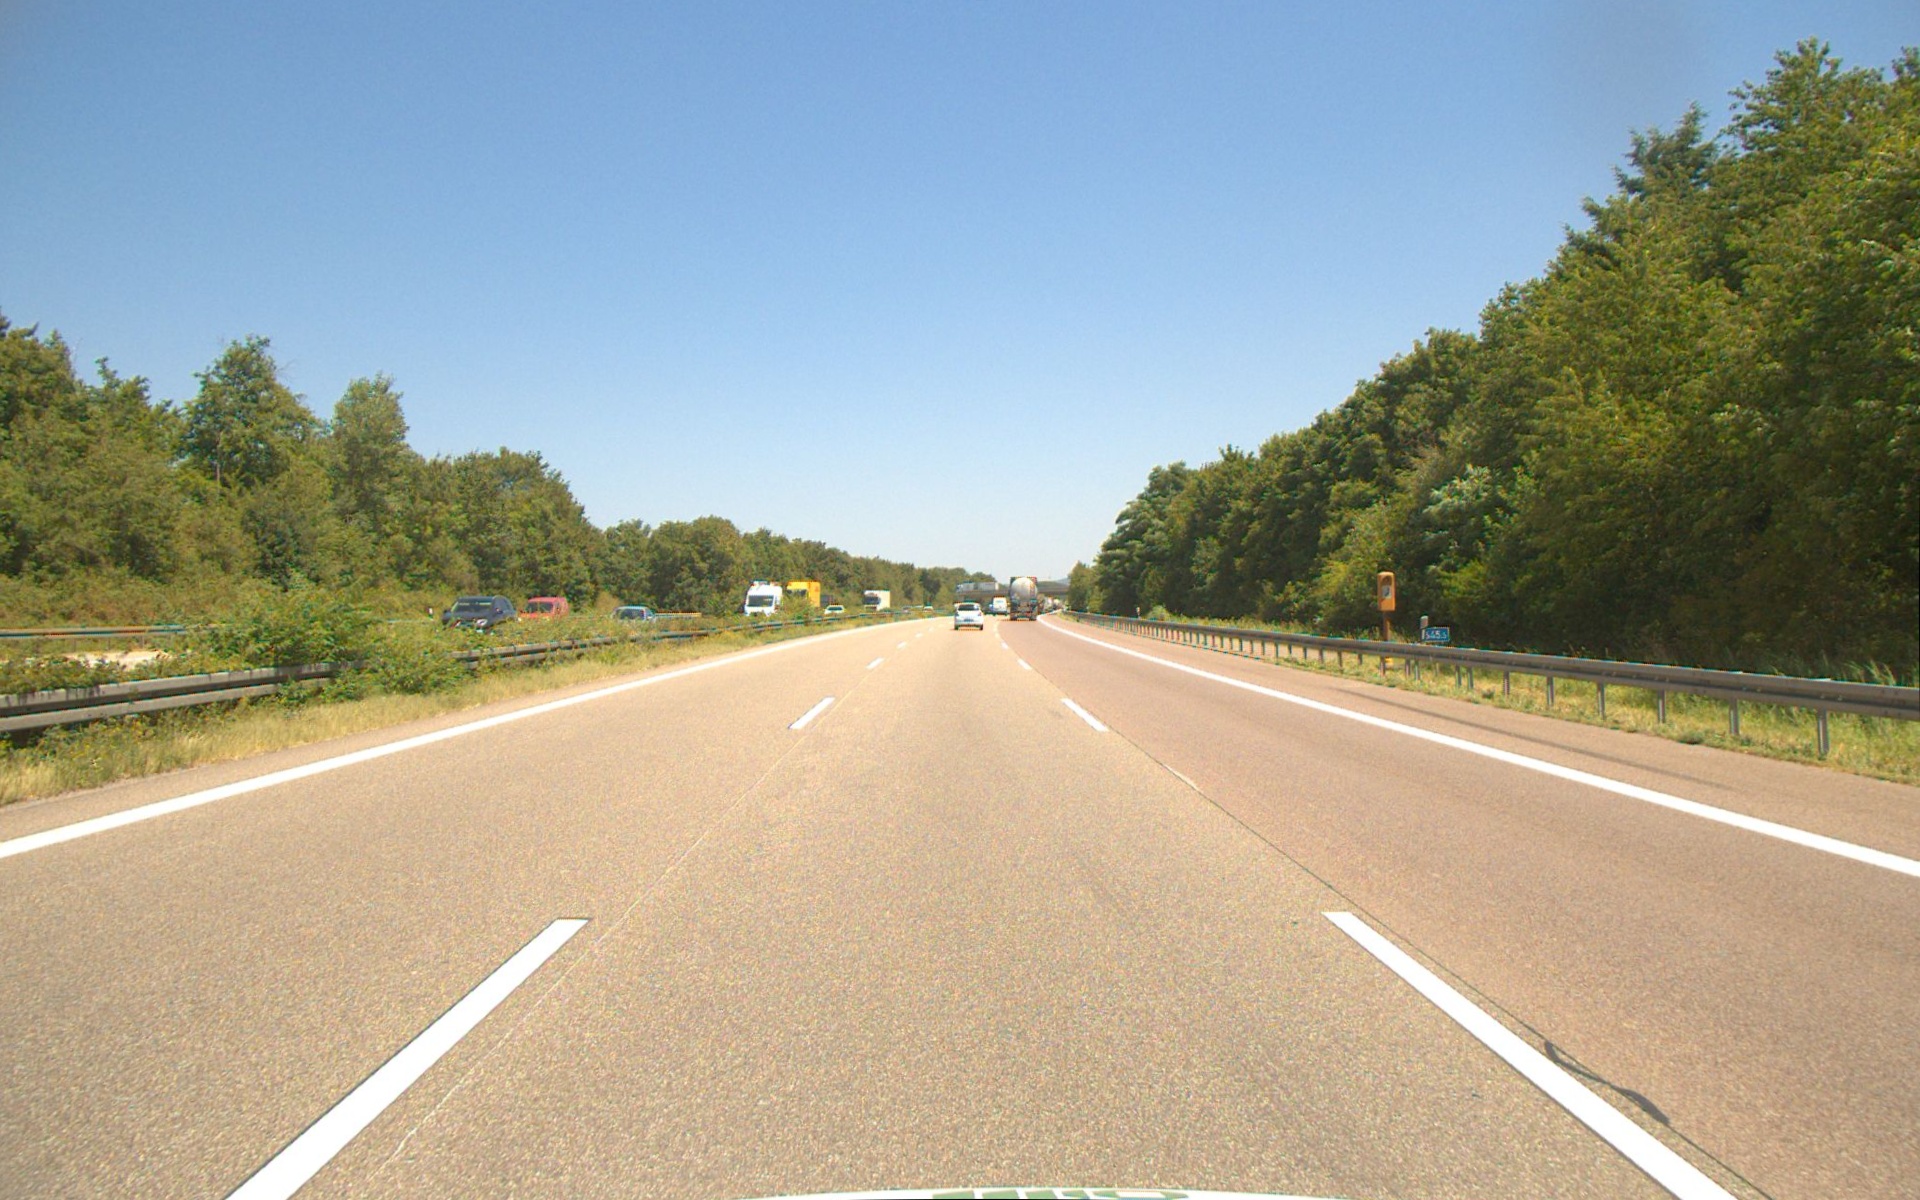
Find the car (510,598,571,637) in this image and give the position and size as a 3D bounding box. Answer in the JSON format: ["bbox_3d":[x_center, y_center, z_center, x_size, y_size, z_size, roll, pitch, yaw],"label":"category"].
[{"bbox_3d":[-20.382,0.832,80.514,1.669,1.807,4.768,0,0,1],"label":"car"}]

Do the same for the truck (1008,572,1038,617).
[{"bbox_3d":[6.013,-0.474,156.652,2.682,4.123,10.457,0,0,3],"label":"truck"}]

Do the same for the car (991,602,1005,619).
[{"bbox_3d":[5.438,1.445,236.362,1.952,2.384,4.387,0,0,2],"label":"car"}]

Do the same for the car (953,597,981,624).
[{"bbox_3d":[0.422,0.625,95.427,1.594,1.505,4.000,0,0,1],"label":"car"}]

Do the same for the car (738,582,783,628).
[{"bbox_3d":[-12.644,0.297,105.062,2.045,2.827,5.829,0,0,1],"label":"car"}]

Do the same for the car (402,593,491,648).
[{"bbox_3d":[-17.220,0.668,55.637,1.632,1.785,4.001,0,0,1],"label":"car"}]
